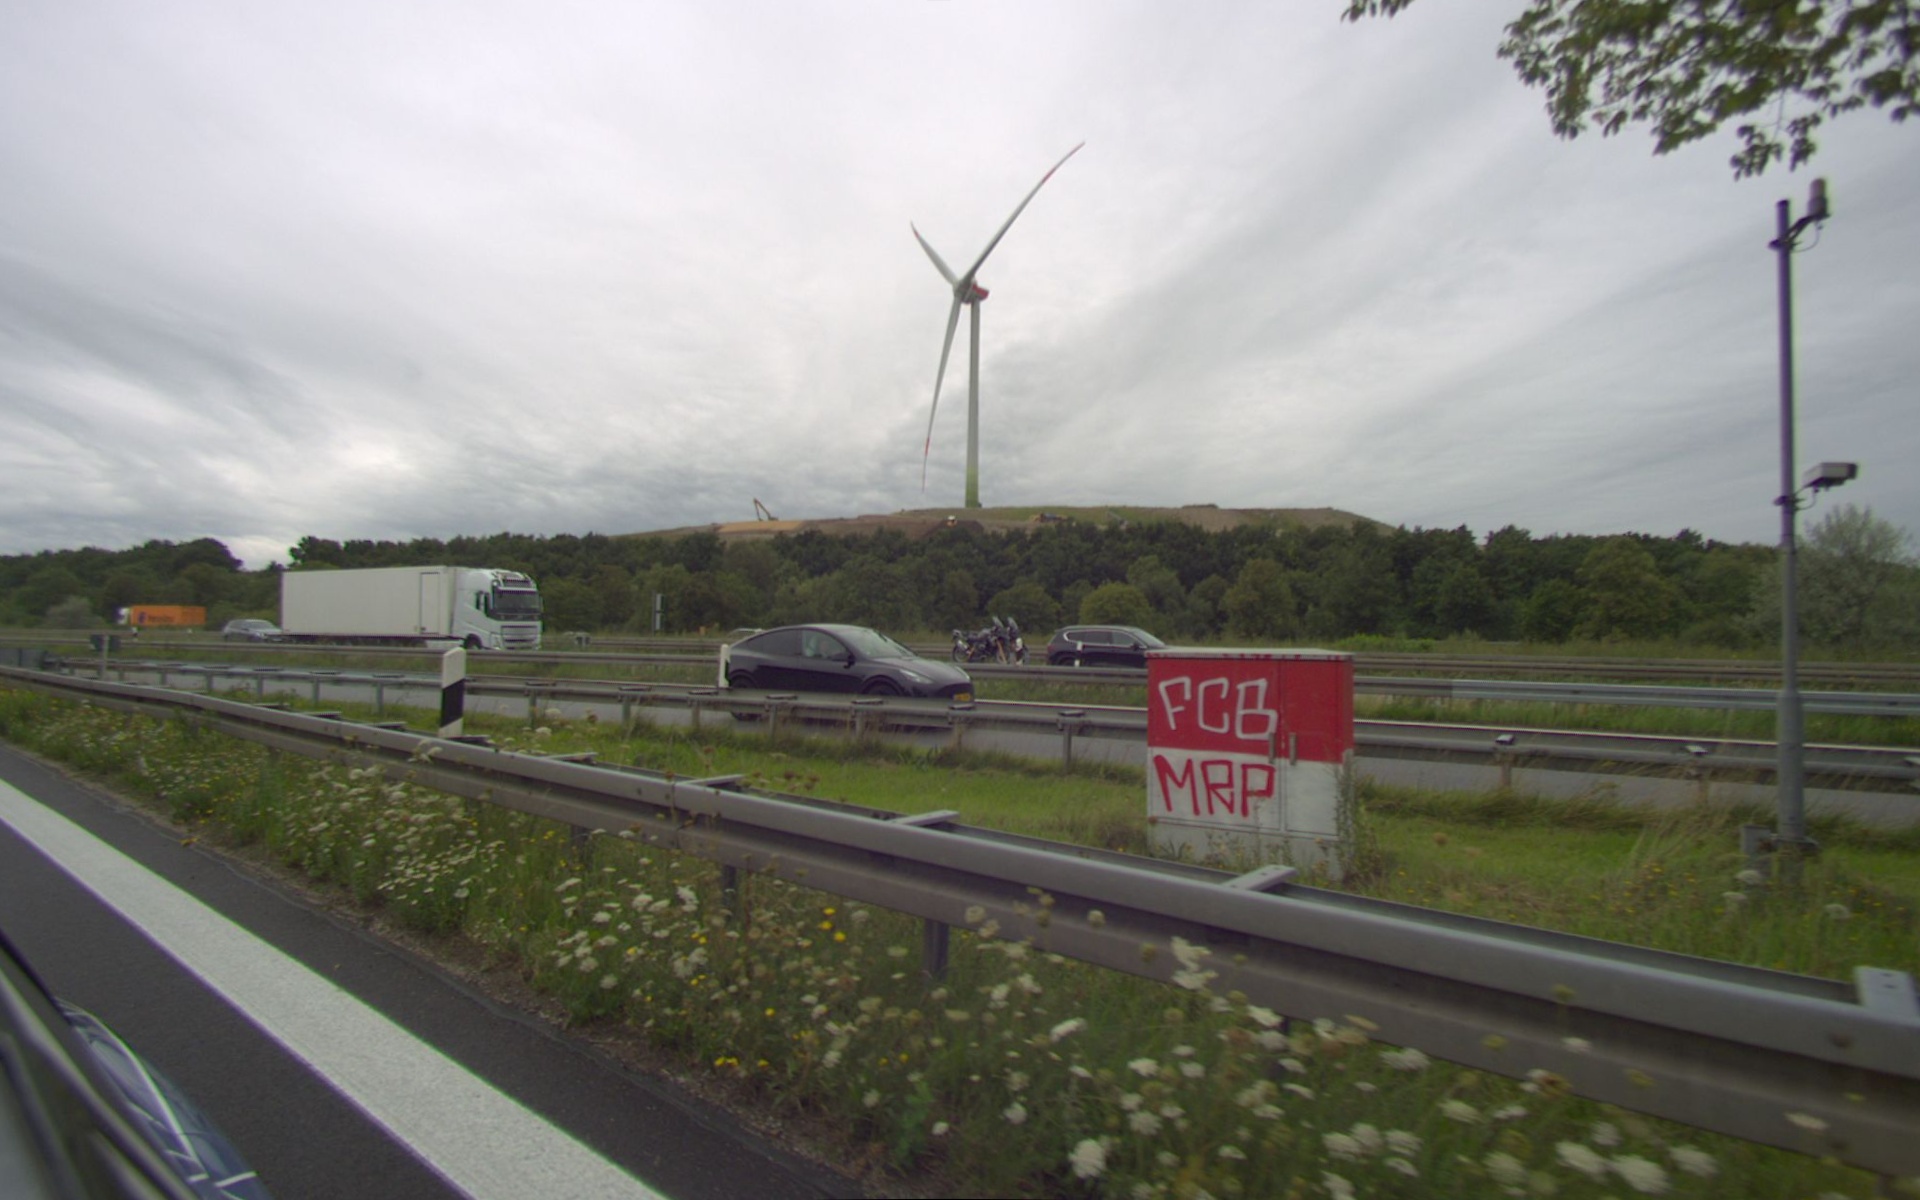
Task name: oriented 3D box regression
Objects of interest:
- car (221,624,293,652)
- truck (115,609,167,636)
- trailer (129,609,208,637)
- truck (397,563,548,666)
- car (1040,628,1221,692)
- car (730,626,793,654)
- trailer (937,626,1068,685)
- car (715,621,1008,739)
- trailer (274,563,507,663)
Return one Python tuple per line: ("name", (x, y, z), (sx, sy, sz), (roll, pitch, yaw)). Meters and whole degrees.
("car", (-43.183, 2.340, 62.169), (4.466, 1.663, 1.886), (-1, -2, 29))
("truck", (-98.460, 2.663, 121.684), (6.428, 3.097, 2.667), (0, -1, 30))
("trailer", (-92.689, 2.645, 118.392), (12.514, 3.097, 2.667), (0, -1, 30))
("truck", (-21.034, 0.641, 43.591), (6.420, 4.167, 2.747), (-1, -2, 30))
("car", (4.862, 1.650, 29.065), (4.788, 1.638, 1.869), (0, -1, 31))
("car", (-13.137, 2.614, 66.883), (3.988, 1.741, 1.836), (0, -1, 33))
("trailer", (1.296, 1.662, 31.190), (3.597, 1.638, 1.869), (0, -1, 30))
("car", (-1.654, 1.194, 16.570), (4.537, 1.650, 1.947), (0, -1, 31))
("trailer", (-26.636, 0.660, 46.873), (13.896, 4.167, 2.746), (-1, -2, 30))
